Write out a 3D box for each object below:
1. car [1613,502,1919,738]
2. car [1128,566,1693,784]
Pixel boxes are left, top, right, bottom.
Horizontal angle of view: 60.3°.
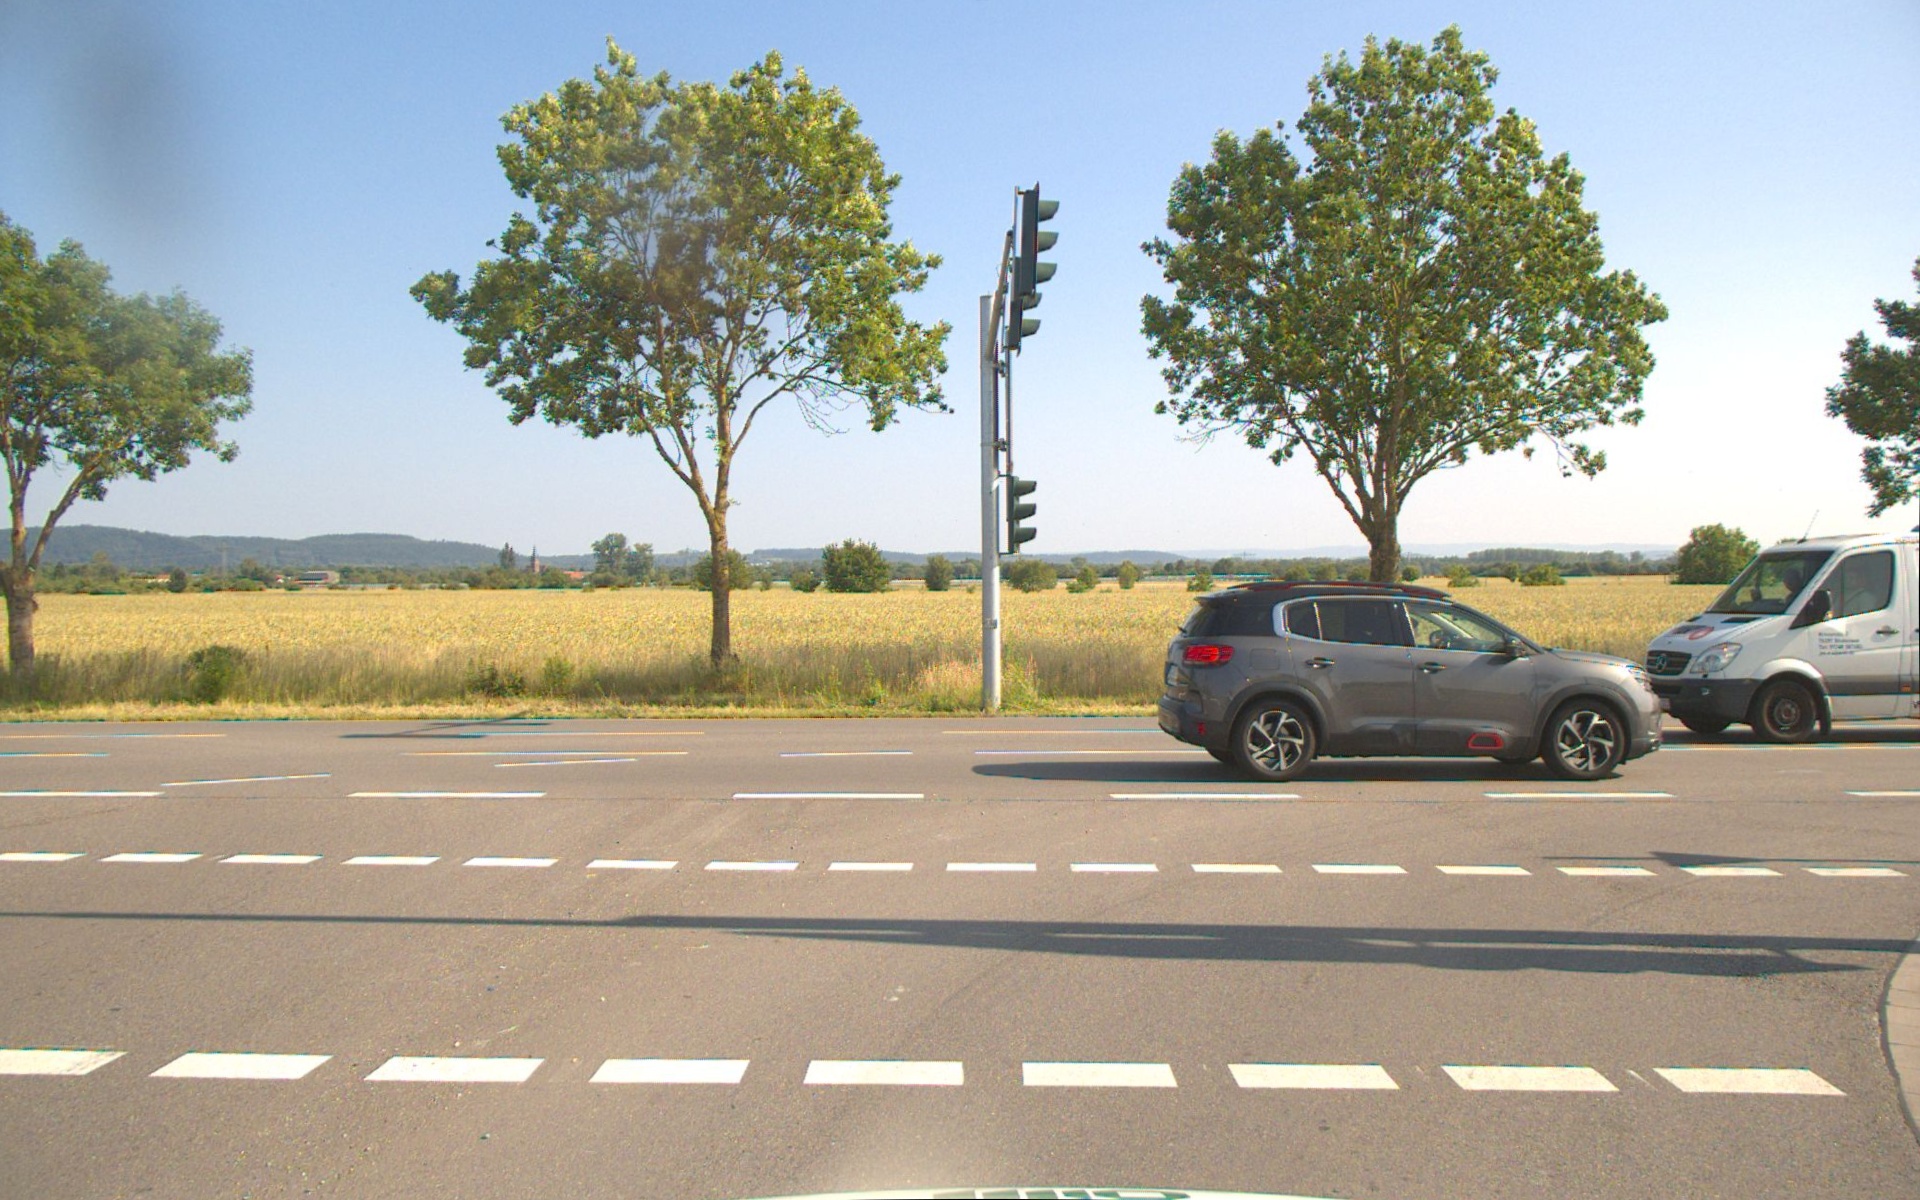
[{"bbox_3d":[10.793,0.217,18.937,5.837,2.536,1.999,0,-1,-2],"label":"car"},{"bbox_3d":[3.917,0.652,14.903,4.512,1.754,1.999,1,-1,-3],"label":"car"}]
